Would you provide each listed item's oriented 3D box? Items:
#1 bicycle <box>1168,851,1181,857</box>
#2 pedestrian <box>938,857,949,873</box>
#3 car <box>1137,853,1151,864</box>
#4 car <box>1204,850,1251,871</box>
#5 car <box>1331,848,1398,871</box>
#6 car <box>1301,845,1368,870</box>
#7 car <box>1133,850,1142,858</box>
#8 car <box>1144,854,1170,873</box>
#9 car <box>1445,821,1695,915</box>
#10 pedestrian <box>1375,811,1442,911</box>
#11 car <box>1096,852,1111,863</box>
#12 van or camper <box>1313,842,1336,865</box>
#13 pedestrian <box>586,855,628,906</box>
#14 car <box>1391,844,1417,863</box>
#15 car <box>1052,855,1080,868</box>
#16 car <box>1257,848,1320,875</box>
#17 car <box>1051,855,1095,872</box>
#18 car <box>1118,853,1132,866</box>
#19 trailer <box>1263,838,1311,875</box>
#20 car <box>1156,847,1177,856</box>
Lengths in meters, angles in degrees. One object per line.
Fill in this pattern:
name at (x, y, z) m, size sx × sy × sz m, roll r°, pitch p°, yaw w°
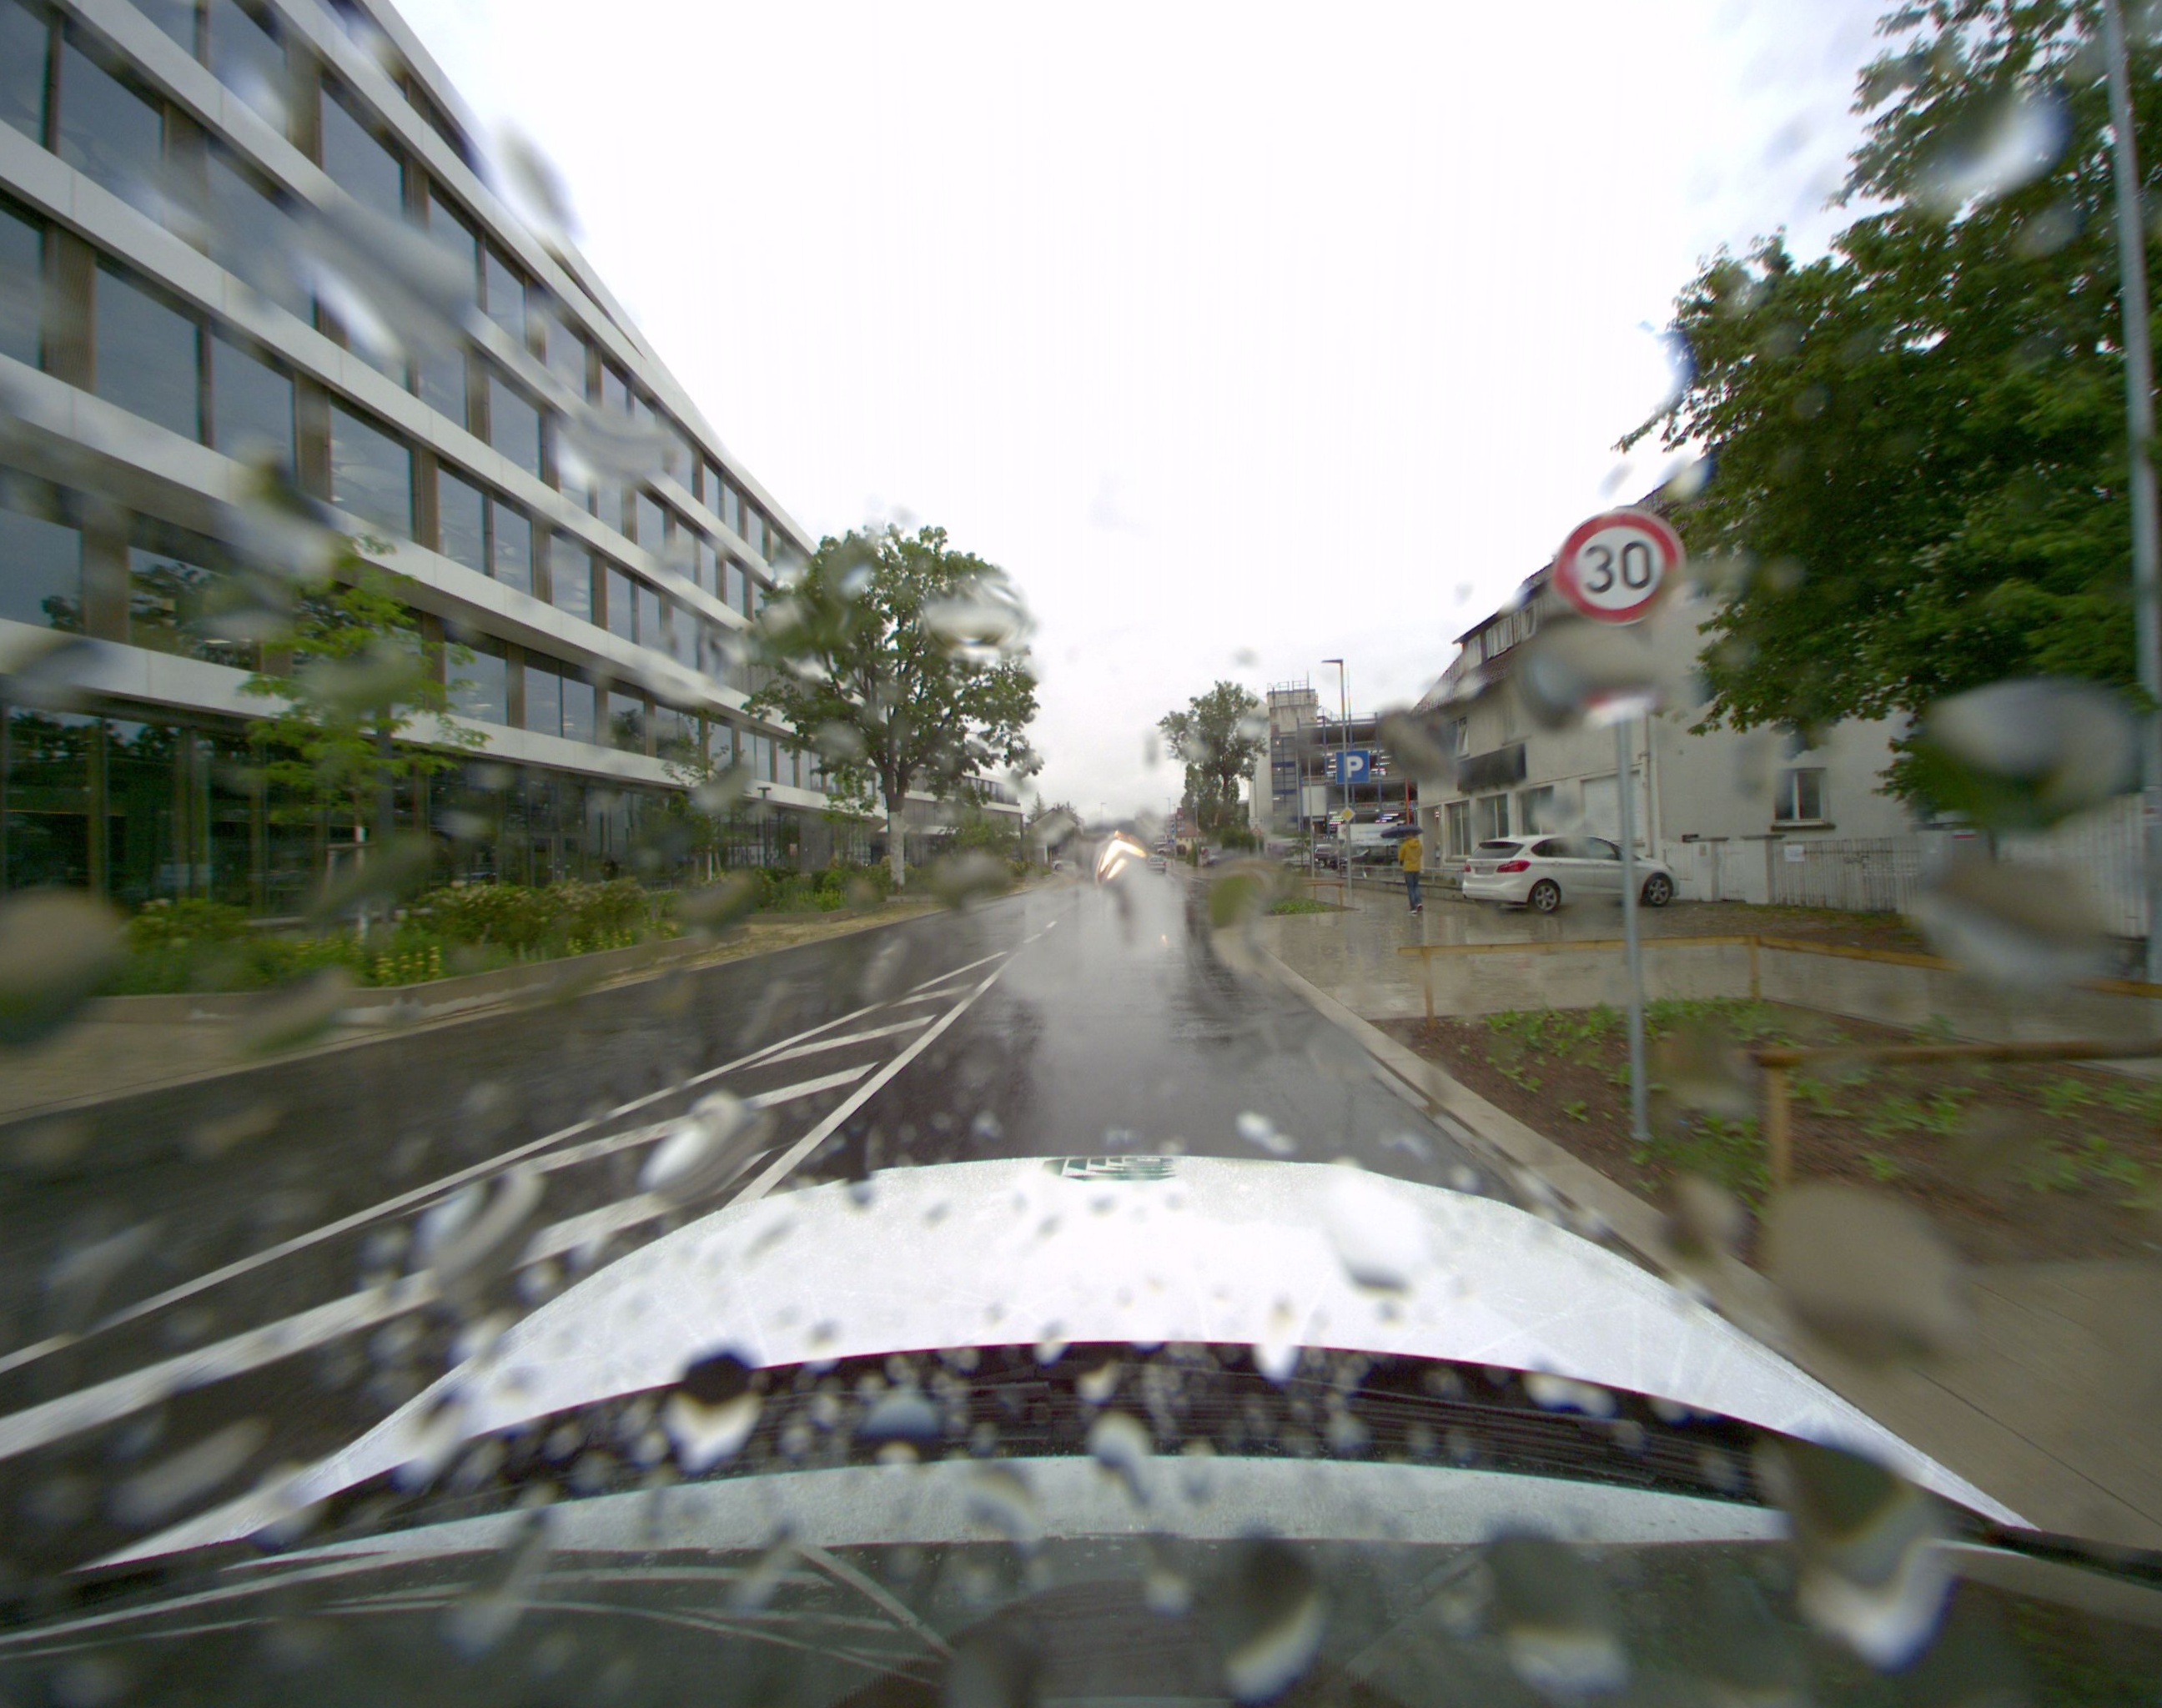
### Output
bicycle at (18.646, 0.060, 162.590) m, size 0.672 × 1.067 × 3.596 m, roll 3°, pitch -2°, yaw -28°
pedestrian at (-15.713, 1.248, 93.109) m, size 1.010 × 1.724 × 0.772 m, roll -1°, pitch 0°, yaw 0°
car at (10.795, 0.864, 139.839) m, size 2.145 × 1.706 × 4.003 m, roll 2°, pitch -2°, yaw 3°
car at (13.929, 0.621, 77.262) m, size 4.178 × 1.650 × 2.007 m, roll -4°, pitch -1°, yaw 13°
car at (18.291, 0.373, 52.696) m, size 3.714 × 1.315 × 1.692 m, roll -2°, pitch -1°, yaw 0°
car at (18.675, 0.232, 60.010) m, size 4.339 × 1.651 × 1.845 m, roll -2°, pitch -1°, yaw 1°
car at (12.816, 0.041, 185.225) m, size 1.985 × 1.706 × 4.003 m, roll 2°, pitch -2°, yaw 3°
car at (6.617, 0.857, 71.271) m, size 1.941 × 1.556 × 4.000 m, roll 2°, pitch -2°, yaw 1°
car at (10.052, 0.268, 16.895) m, size 4.131 × 1.580 × 1.992 m, roll -3°, pitch 0°, yaw -11°
pedestrian at (6.979, 0.156, 17.415) m, size 0.856 × 2.013 × 1.195 m, roll -4°, pitch -1°, yaw 1°
car at (3.291, 0.498, 120.107) m, size 1.985 × 1.629 × 4.157 m, roll -2°, pitch 0°, yaw 3°
van or camper at (22.986, -0.055, 76.988) m, size 1.824 × 2.036 × 4.479 m, roll -2°, pitch 0°, yaw 15°
pedestrian at (-16.337, 0.903, 28.101) m, size 0.720 × 1.704 × 0.958 m, roll 2°, pitch -2°, yaw 7°
car at (29.667, -0.071, 74.870) m, size 1.717 × 1.679 × 4.017 m, roll -3°, pitch 0°, yaw 15°
car at (-2.663, 1.286, 142.583) m, size 4.743 × 2.014 × 1.997 m, roll 2°, pitch -2°, yaw -4°
car at (13.561, 0.492, 53.450) m, size 3.710 × 1.529 × 1.651 m, roll -3°, pitch -2°, yaw 3°
car at (-0.696, 0.890, 75.179) m, size 3.910 × 1.423 × 1.900 m, roll -2°, pitch 0°, yaw 4°
car at (6.360, 0.828, 117.740) m, size 1.995 × 1.818 × 4.982 m, roll -2°, pitch 0°, yaw 3°
trailer at (12.848, 0.146, 50.893) m, size 2.689 × 2.171 × 1.550 m, roll -2°, pitch -1°, yaw 5°
car at (17.738, -0.454, 169.153) m, size 4.099 × 1.706 × 1.788 m, roll 2°, pitch -2°, yaw 0°
